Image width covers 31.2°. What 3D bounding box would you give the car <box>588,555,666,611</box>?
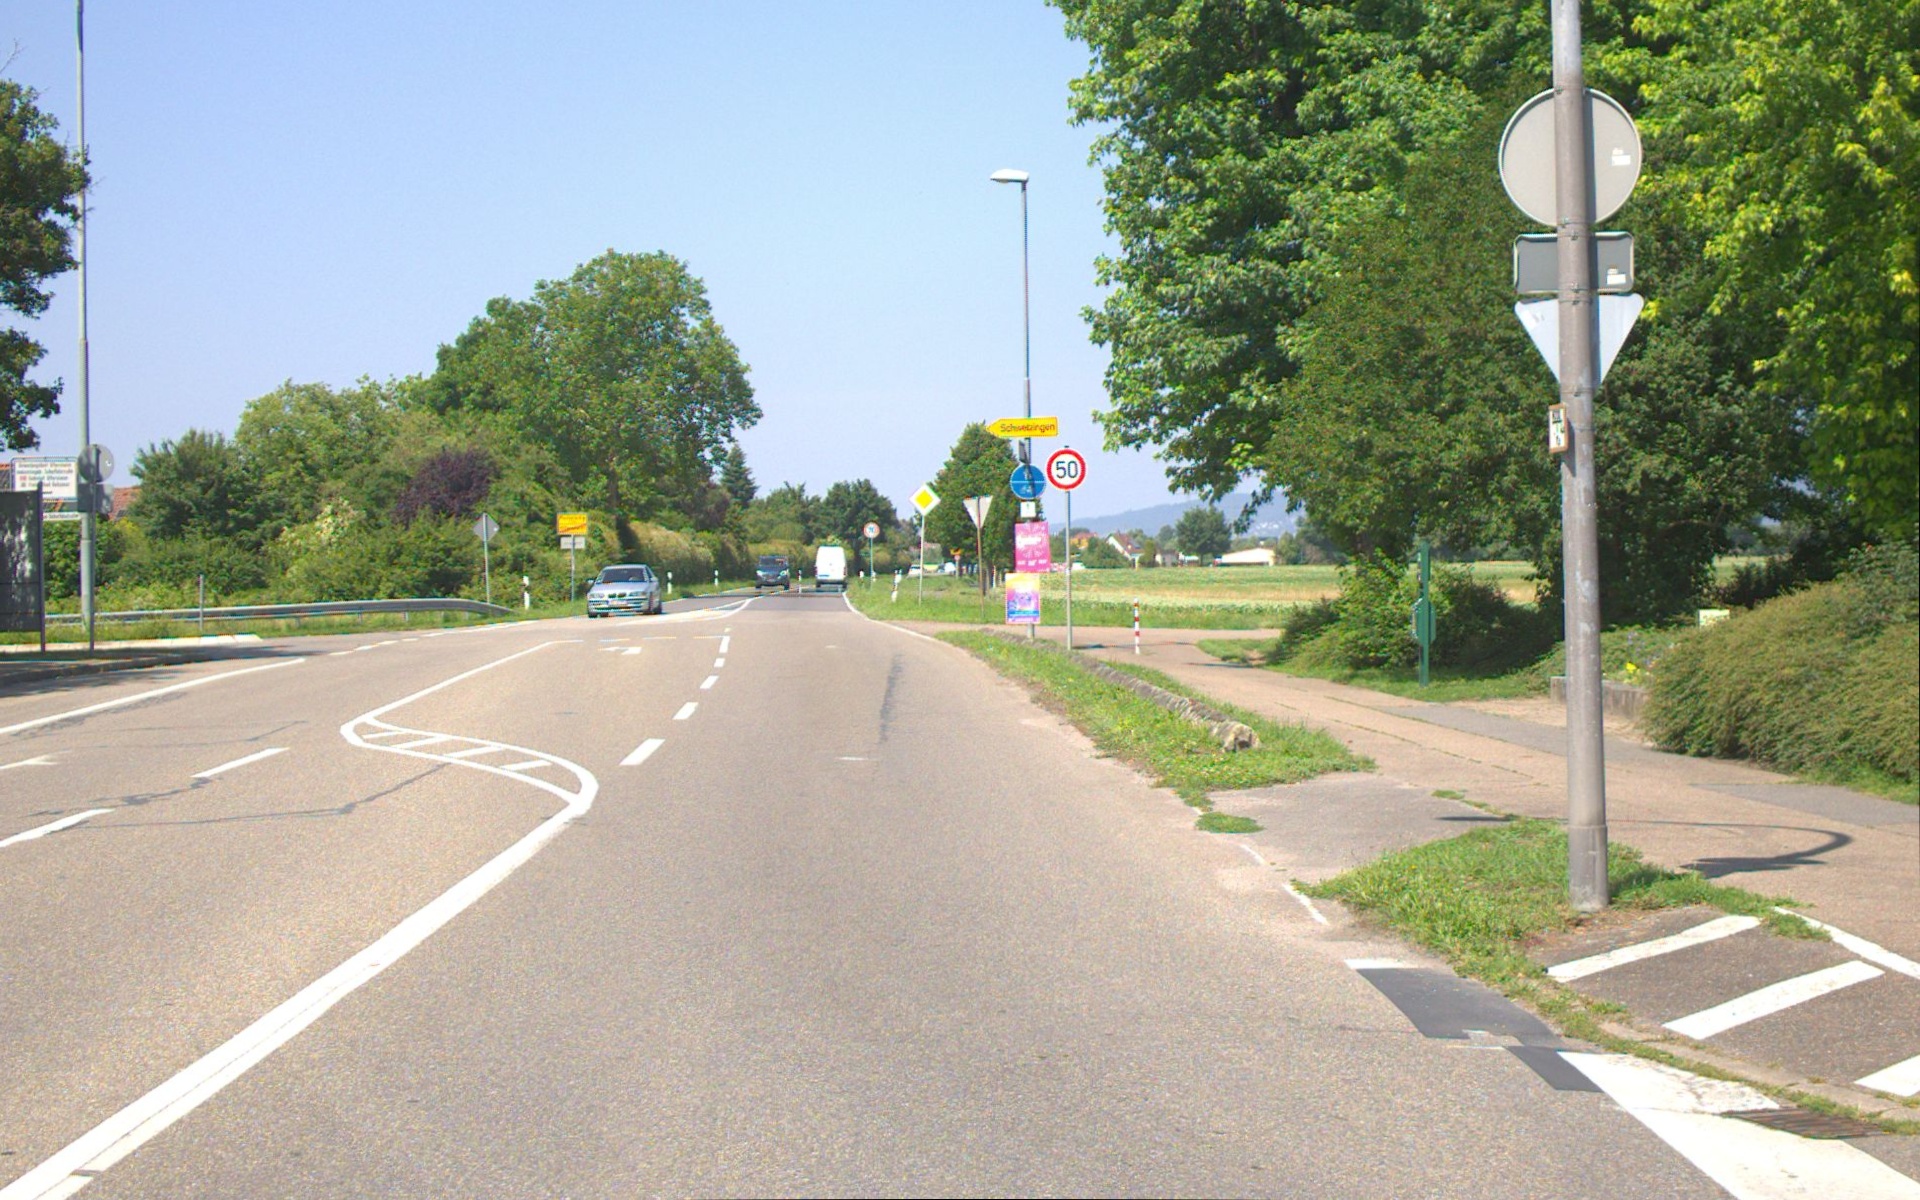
[{"bbox_3d":[-9.129,-0.475,94.553,1.636,1.466,4.416,-1,1,1],"label":"car"}]

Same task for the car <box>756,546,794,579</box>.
[{"bbox_3d":[-11.364,-2.298,211.438,2.144,1.944,5.248,-1,1,-1],"label":"car"}]

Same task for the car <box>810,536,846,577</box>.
[{"bbox_3d":[-8.542,-2.824,222.645,1.993,2.642,4.001,-1,1,-6],"label":"car"}]
